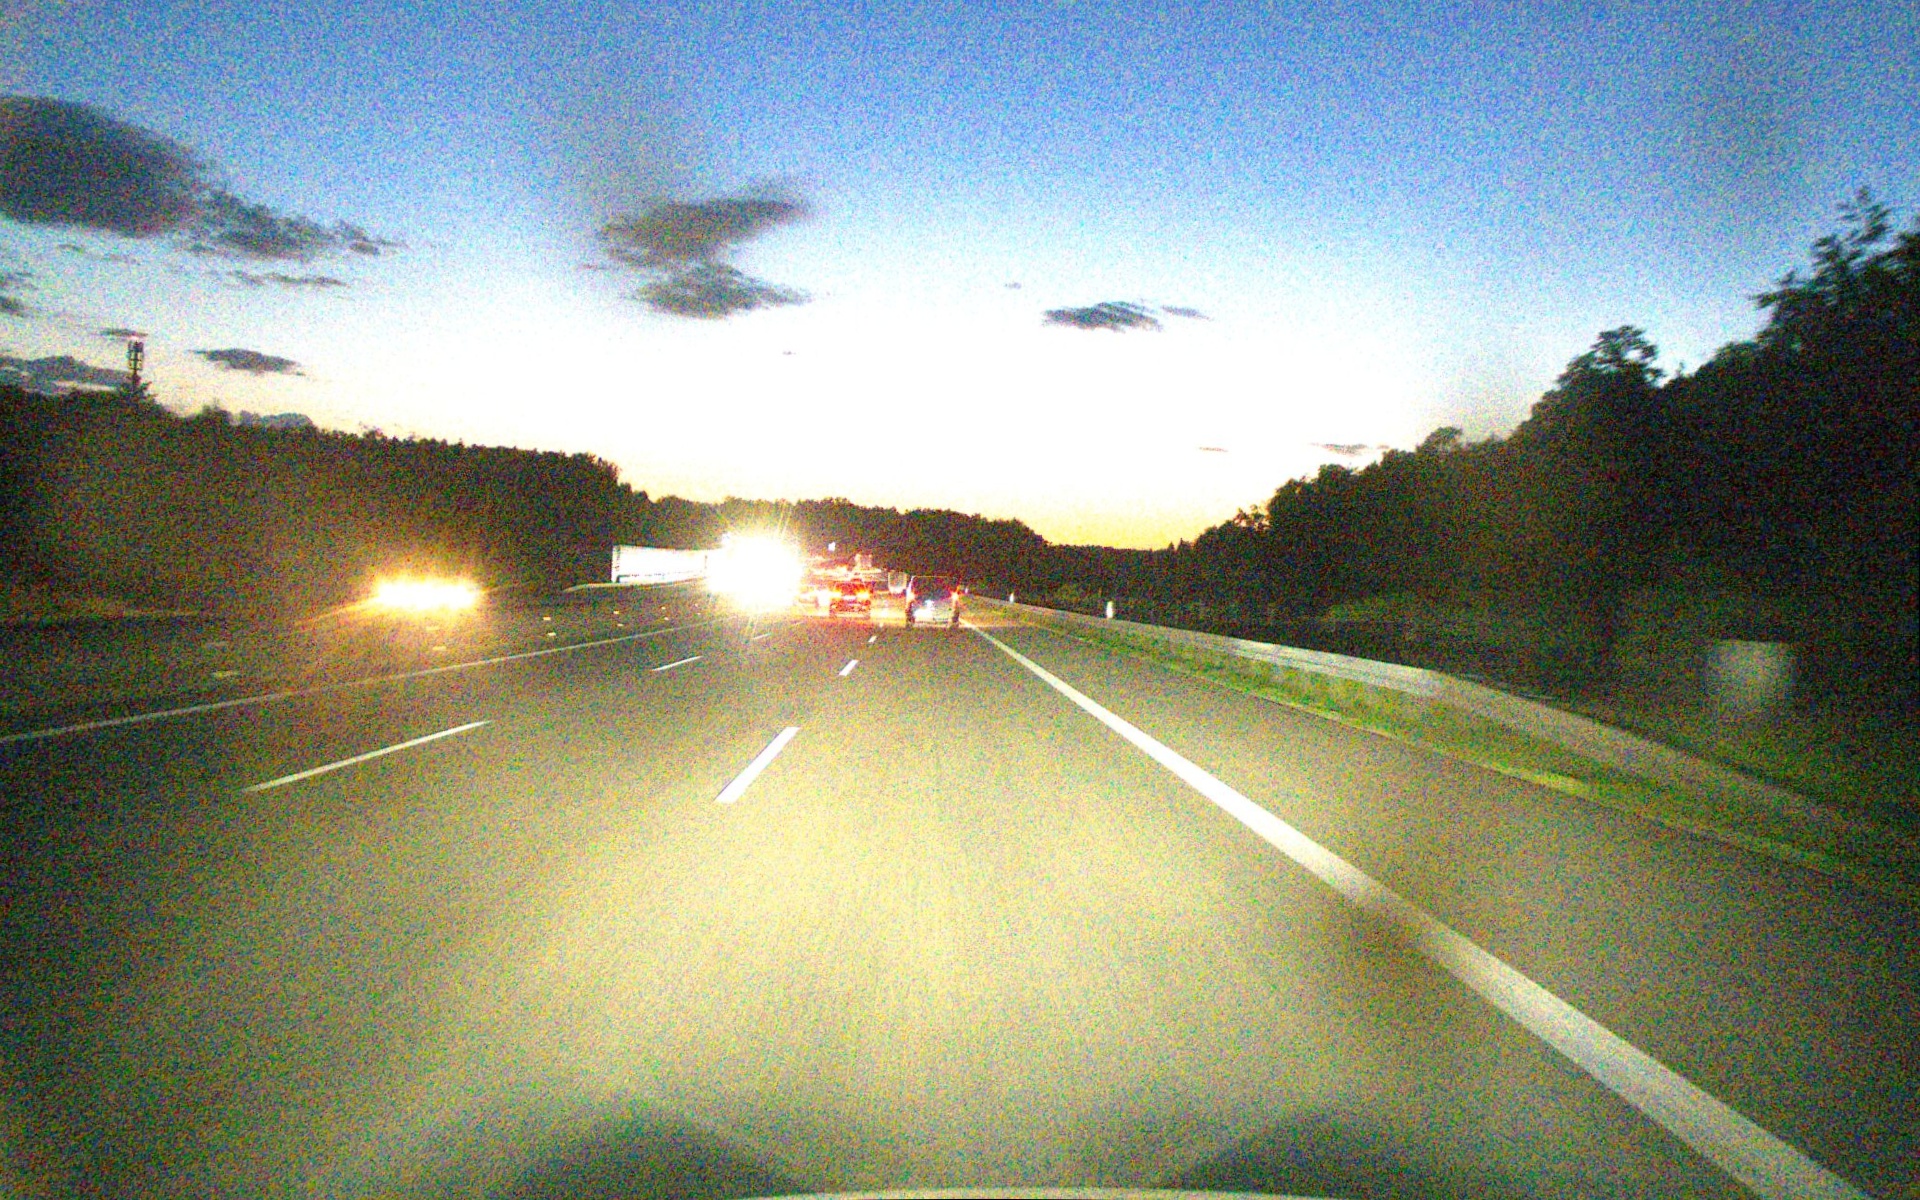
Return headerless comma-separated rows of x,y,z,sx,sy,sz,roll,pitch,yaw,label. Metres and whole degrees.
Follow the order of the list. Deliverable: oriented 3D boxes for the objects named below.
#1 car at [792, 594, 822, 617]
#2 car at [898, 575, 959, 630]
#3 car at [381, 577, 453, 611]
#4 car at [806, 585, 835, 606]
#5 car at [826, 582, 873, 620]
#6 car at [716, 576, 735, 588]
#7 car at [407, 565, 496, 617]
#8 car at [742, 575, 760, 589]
-10.253,0.362,111.238,1.518,1.456,5.513,1,0,0,car
-1.220,0.062,62.405,2.153,1.989,4.761,0,1,-3,car
-24.368,-0.266,74.373,1.738,1.454,4.658,1,0,-1,car
-10.428,-0.355,124.112,1.743,1.513,5.253,0,1,-1,car
-5.203,0.045,78.665,1.953,1.751,5.941,0,0,-1,car
-33.782,-2.592,238.231,2.062,1.717,5.384,1,0,-2,car
-19.828,-0.329,64.726,2.061,1.918,4.658,1,0,-1,car
-28.805,-2.461,227.911,2.062,1.820,4.657,1,0,-2,car
